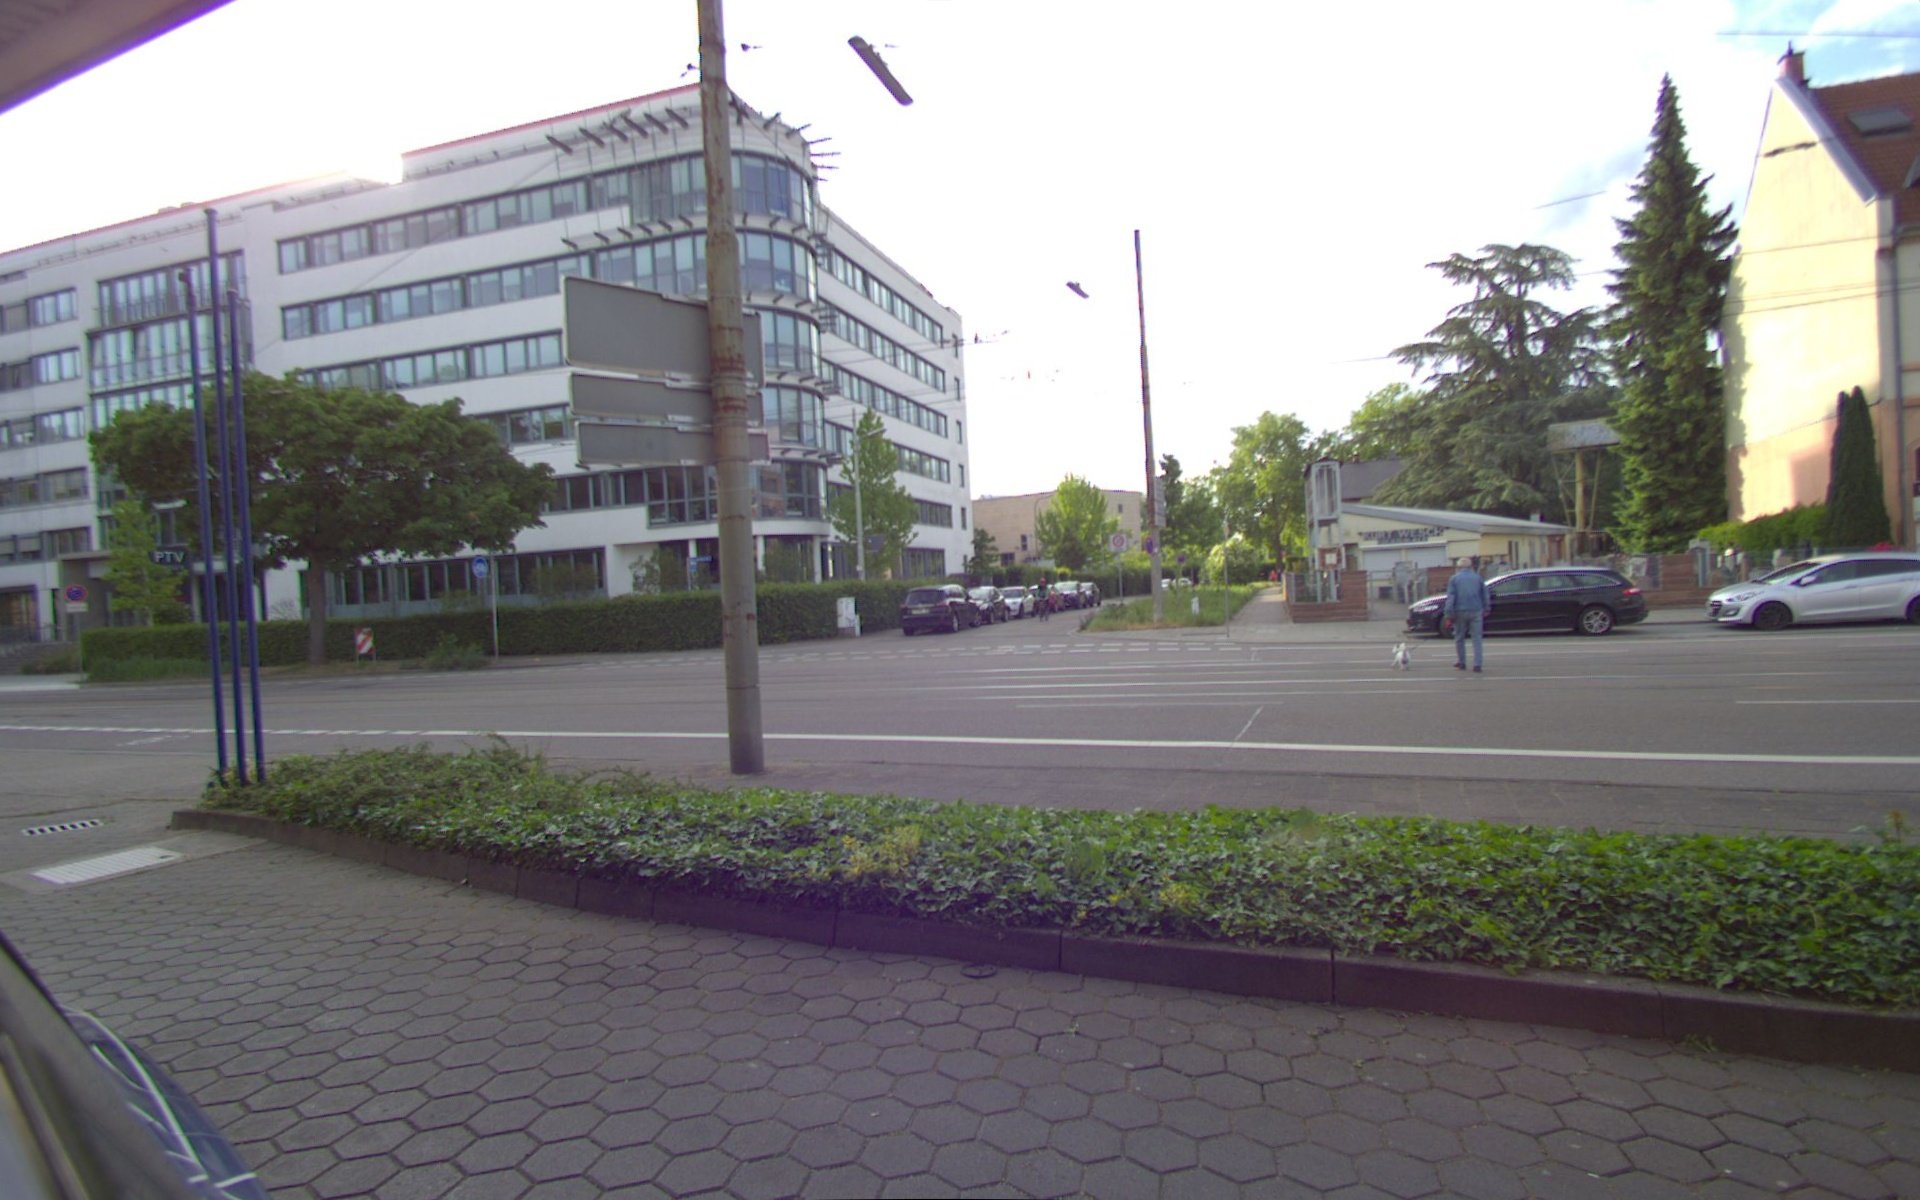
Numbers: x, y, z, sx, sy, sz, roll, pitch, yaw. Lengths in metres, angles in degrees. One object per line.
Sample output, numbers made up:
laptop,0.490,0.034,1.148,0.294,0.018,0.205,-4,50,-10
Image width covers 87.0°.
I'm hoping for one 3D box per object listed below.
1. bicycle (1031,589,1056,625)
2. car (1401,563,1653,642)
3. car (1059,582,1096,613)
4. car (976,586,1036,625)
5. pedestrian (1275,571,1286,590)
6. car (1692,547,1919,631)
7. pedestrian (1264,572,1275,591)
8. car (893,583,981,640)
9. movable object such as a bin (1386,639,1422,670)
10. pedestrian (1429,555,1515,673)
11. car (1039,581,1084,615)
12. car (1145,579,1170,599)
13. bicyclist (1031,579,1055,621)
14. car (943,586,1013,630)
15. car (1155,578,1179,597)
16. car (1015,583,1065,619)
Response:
bicycle,3.416,0.265,41.357,0.856,1.320,1.915,-3,3,9
car,12.913,0.055,23.446,4.742,1.511,2.001,-3,1,21
car,7.295,-0.163,62.499,1.731,1.748,4.030,-3,0,13
car,2.146,0.213,45.791,1.929,1.530,4.274,-3,0,13
pedestrian,31.228,-1.882,98.520,0.899,1.865,0.942,-3,-1,20
car,18.424,-0.245,21.384,4.424,1.494,1.713,-3,1,21
pedestrian,30.231,-1.809,98.739,0.899,1.865,0.942,-3,-1,20
car,-0.723,0.360,35.420,1.994,1.704,4.274,-3,1,13
movable object such as a bin,7.025,0.863,16.042,0.478,0.424,0.675,-3,2,22
pedestrian,7.657,0.194,15.175,0.997,1.680,0.964,-3,1,22
car,5.840,-0.153,57.725,1.929,1.748,4.512,-3,0,13
car,19.708,-1.091,100.794,1.849,1.748,4.247,-3,1,19
bicyclist,3.392,0.007,41.259,0.856,1.617,1.026,-3,3,9
car,0.797,0.290,40.980,1.929,1.551,4.274,-3,0,13
car,21.700,-1.342,106.164,1.849,1.748,4.246,-3,1,19
car,4.180,0.021,52.496,1.929,1.650,4.274,-3,0,13
